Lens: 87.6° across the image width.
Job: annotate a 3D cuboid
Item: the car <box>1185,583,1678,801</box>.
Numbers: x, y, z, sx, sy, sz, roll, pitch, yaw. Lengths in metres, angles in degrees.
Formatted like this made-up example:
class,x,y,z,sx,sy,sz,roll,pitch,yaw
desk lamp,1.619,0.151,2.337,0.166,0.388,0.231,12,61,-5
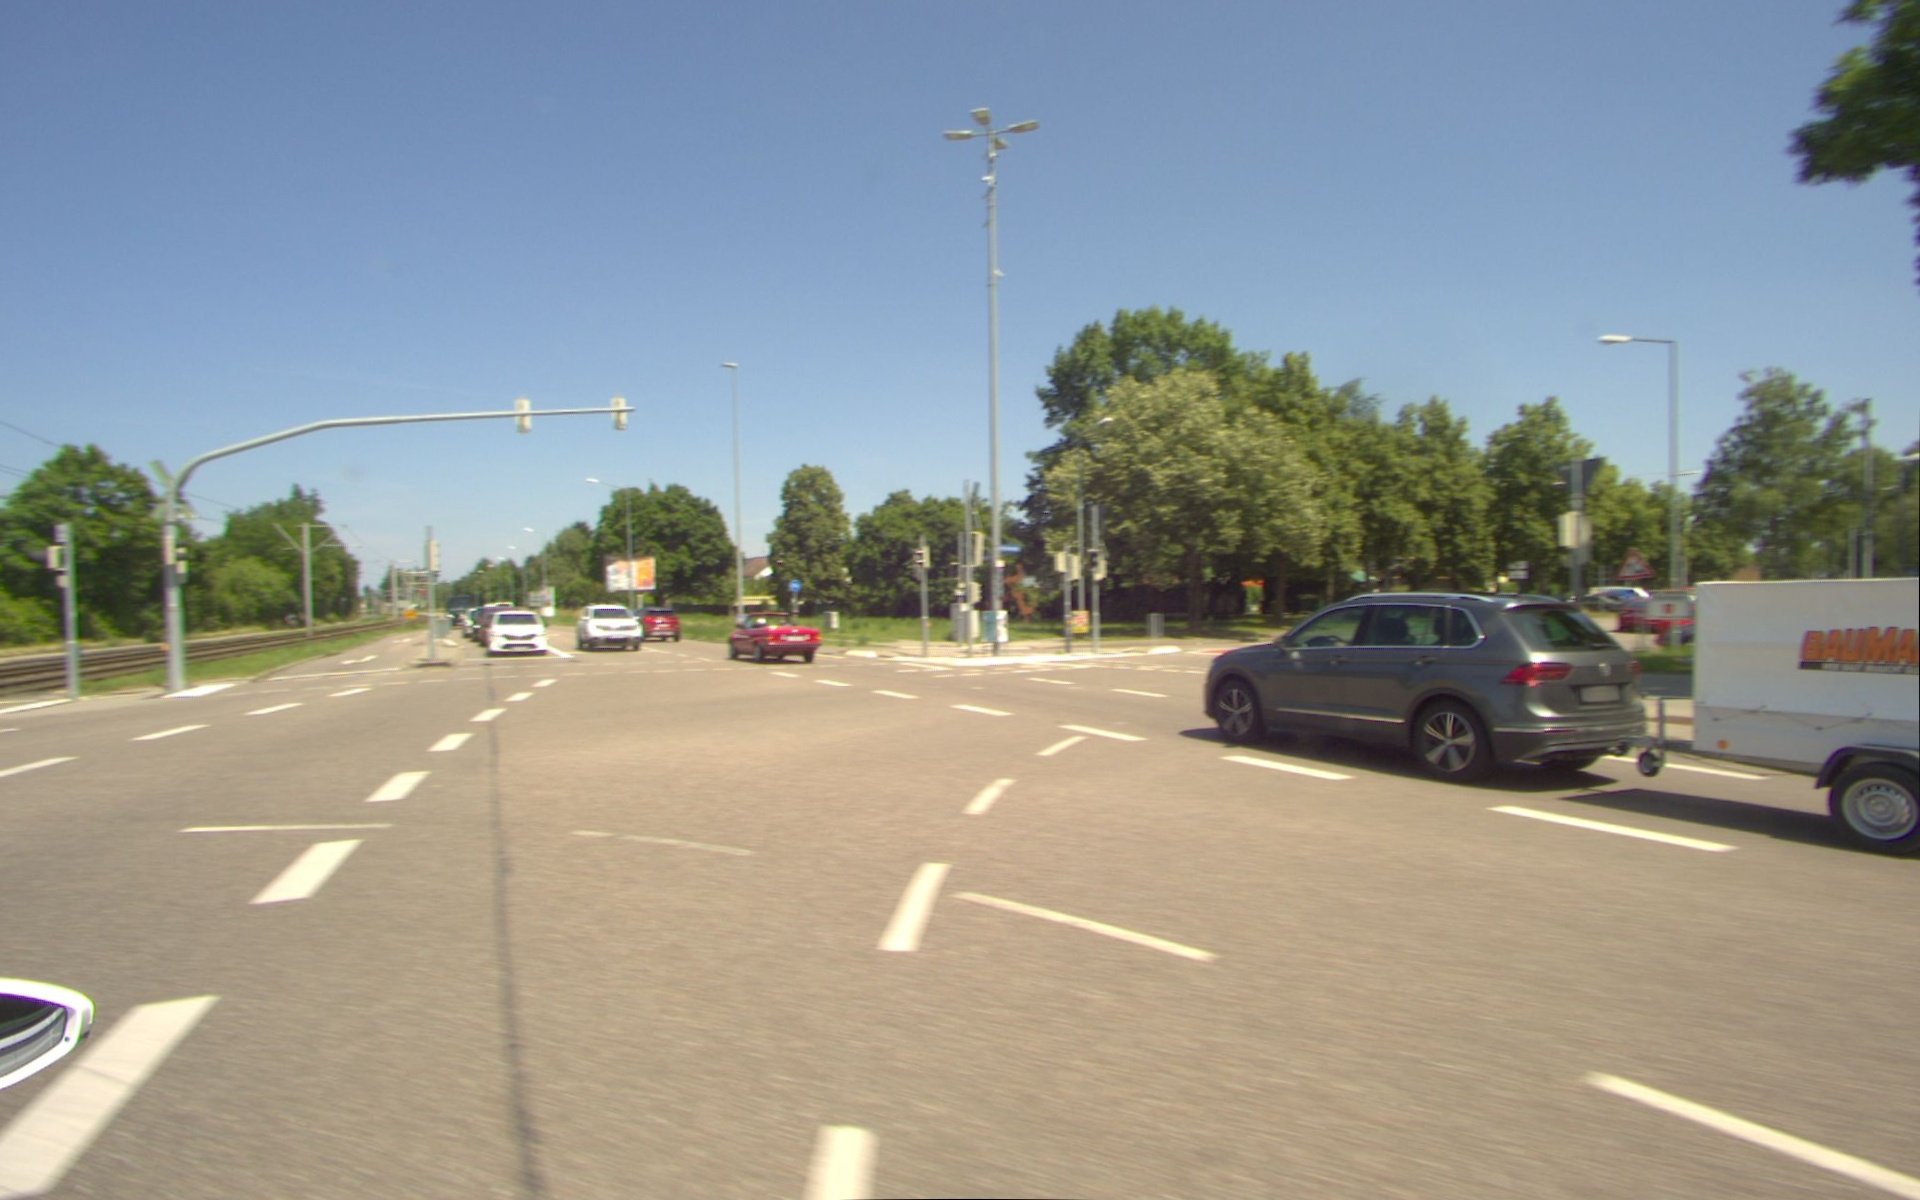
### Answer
class,x,y,z,sx,sy,sz,roll,pitch,yaw
car,4.357,0.738,10.078,1.705,1.680,4.389,0,0,-27

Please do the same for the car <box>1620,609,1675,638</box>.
class,x,y,z,sx,sy,sz,roll,pitch,yaw
car,30.996,1.065,45.126,1.568,1.242,3.463,-2,-3,43

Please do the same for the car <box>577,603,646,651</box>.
class,x,y,z,sx,sy,sz,roll,pitch,yaw
car,-12.661,0.942,36.225,1.846,1.597,4.394,0,-1,-26

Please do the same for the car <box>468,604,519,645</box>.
class,x,y,z,sx,sy,sz,roll,pitch,yaw
car,-19.254,0.985,41.286,1.846,1.597,4.394,0,-1,-26

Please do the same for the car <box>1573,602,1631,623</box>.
class,x,y,z,sx,sy,sz,roll,pitch,yaw
car,47.720,0.958,74.458,3.453,1.495,1.572,-2,-3,41

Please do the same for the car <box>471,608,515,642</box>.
class,x,y,z,sx,sy,sz,roll,pitch,yaw
car,-22.460,1.167,48.089,1.846,1.597,4.394,0,-1,-26

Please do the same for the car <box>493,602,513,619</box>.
class,x,y,z,sx,sy,sz,roll,pitch,yaw
car,-50.073,1.160,109.611,1.747,1.778,3.981,2,-1,-28

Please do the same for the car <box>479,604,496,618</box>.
class,x,y,z,sx,sy,sz,roll,pitch,yaw
car,-61.739,1.460,130.804,1.747,1.778,3.981,2,-1,-28

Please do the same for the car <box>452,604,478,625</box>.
class,x,y,z,sx,sy,sz,roll,pitch,yaw
car,-39.666,1.144,80.303,1.846,1.597,4.394,0,-1,-26

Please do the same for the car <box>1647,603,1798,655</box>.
class,x,y,z,sx,sy,sz,roll,pitch,yaw
car,22.567,0.891,29.688,3.453,1.446,1.572,-2,-3,41

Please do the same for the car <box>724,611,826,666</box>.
class,x,y,z,sx,sy,sz,roll,pitch,yaw
car,-5.249,1.028,27.959,1.739,1.366,4.294,1,0,-26

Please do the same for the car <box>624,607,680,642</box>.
class,x,y,z,sx,sy,sz,roll,pitch,yaw
car,-14.246,1.098,46.207,1.820,1.478,4.394,-1,0,-26

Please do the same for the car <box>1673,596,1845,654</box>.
class,x,y,z,sx,sy,sz,roll,pitch,yaw
car,21.067,0.690,26.548,3.449,1.446,1.574,-2,-3,38

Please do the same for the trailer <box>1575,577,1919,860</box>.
class,x,y,z,sx,sy,sz,roll,pitch,yaw
trailer,6.041,0.713,6.768,1.387,1.676,2.925,0,0,-27

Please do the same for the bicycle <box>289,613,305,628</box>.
class,x,y,z,sx,sy,sz,roll,pitch,yaw
bicycle,-65.433,1.999,98.830,1.048,1.364,2.681,-4,2,-31

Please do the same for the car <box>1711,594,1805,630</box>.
class,x,y,z,sx,sy,sz,roll,pitch,yaw
car,38.033,0.597,47.753,3.453,1.599,1.572,-2,-3,41

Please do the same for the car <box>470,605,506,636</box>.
class,x,y,z,sx,sy,sz,roll,pitch,yaw
car,-25.576,1.069,54.278,1.704,1.597,4.394,0,-1,-26

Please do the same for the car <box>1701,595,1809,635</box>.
class,x,y,z,sx,sy,sz,roll,pitch,yaw
car,33.202,0.670,41.857,3.453,1.574,1.572,-2,-3,41

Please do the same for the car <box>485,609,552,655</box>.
class,x,y,z,sx,sy,sz,roll,pitch,yaw
car,-14.708,1.008,33.250,1.846,1.407,4.394,-1,0,-26

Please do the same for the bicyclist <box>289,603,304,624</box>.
class,x,y,z,sx,sy,sz,roll,pitch,yaw
bicyclist,-65.419,1.352,98.744,1.059,2.041,1.179,-4,2,-31
